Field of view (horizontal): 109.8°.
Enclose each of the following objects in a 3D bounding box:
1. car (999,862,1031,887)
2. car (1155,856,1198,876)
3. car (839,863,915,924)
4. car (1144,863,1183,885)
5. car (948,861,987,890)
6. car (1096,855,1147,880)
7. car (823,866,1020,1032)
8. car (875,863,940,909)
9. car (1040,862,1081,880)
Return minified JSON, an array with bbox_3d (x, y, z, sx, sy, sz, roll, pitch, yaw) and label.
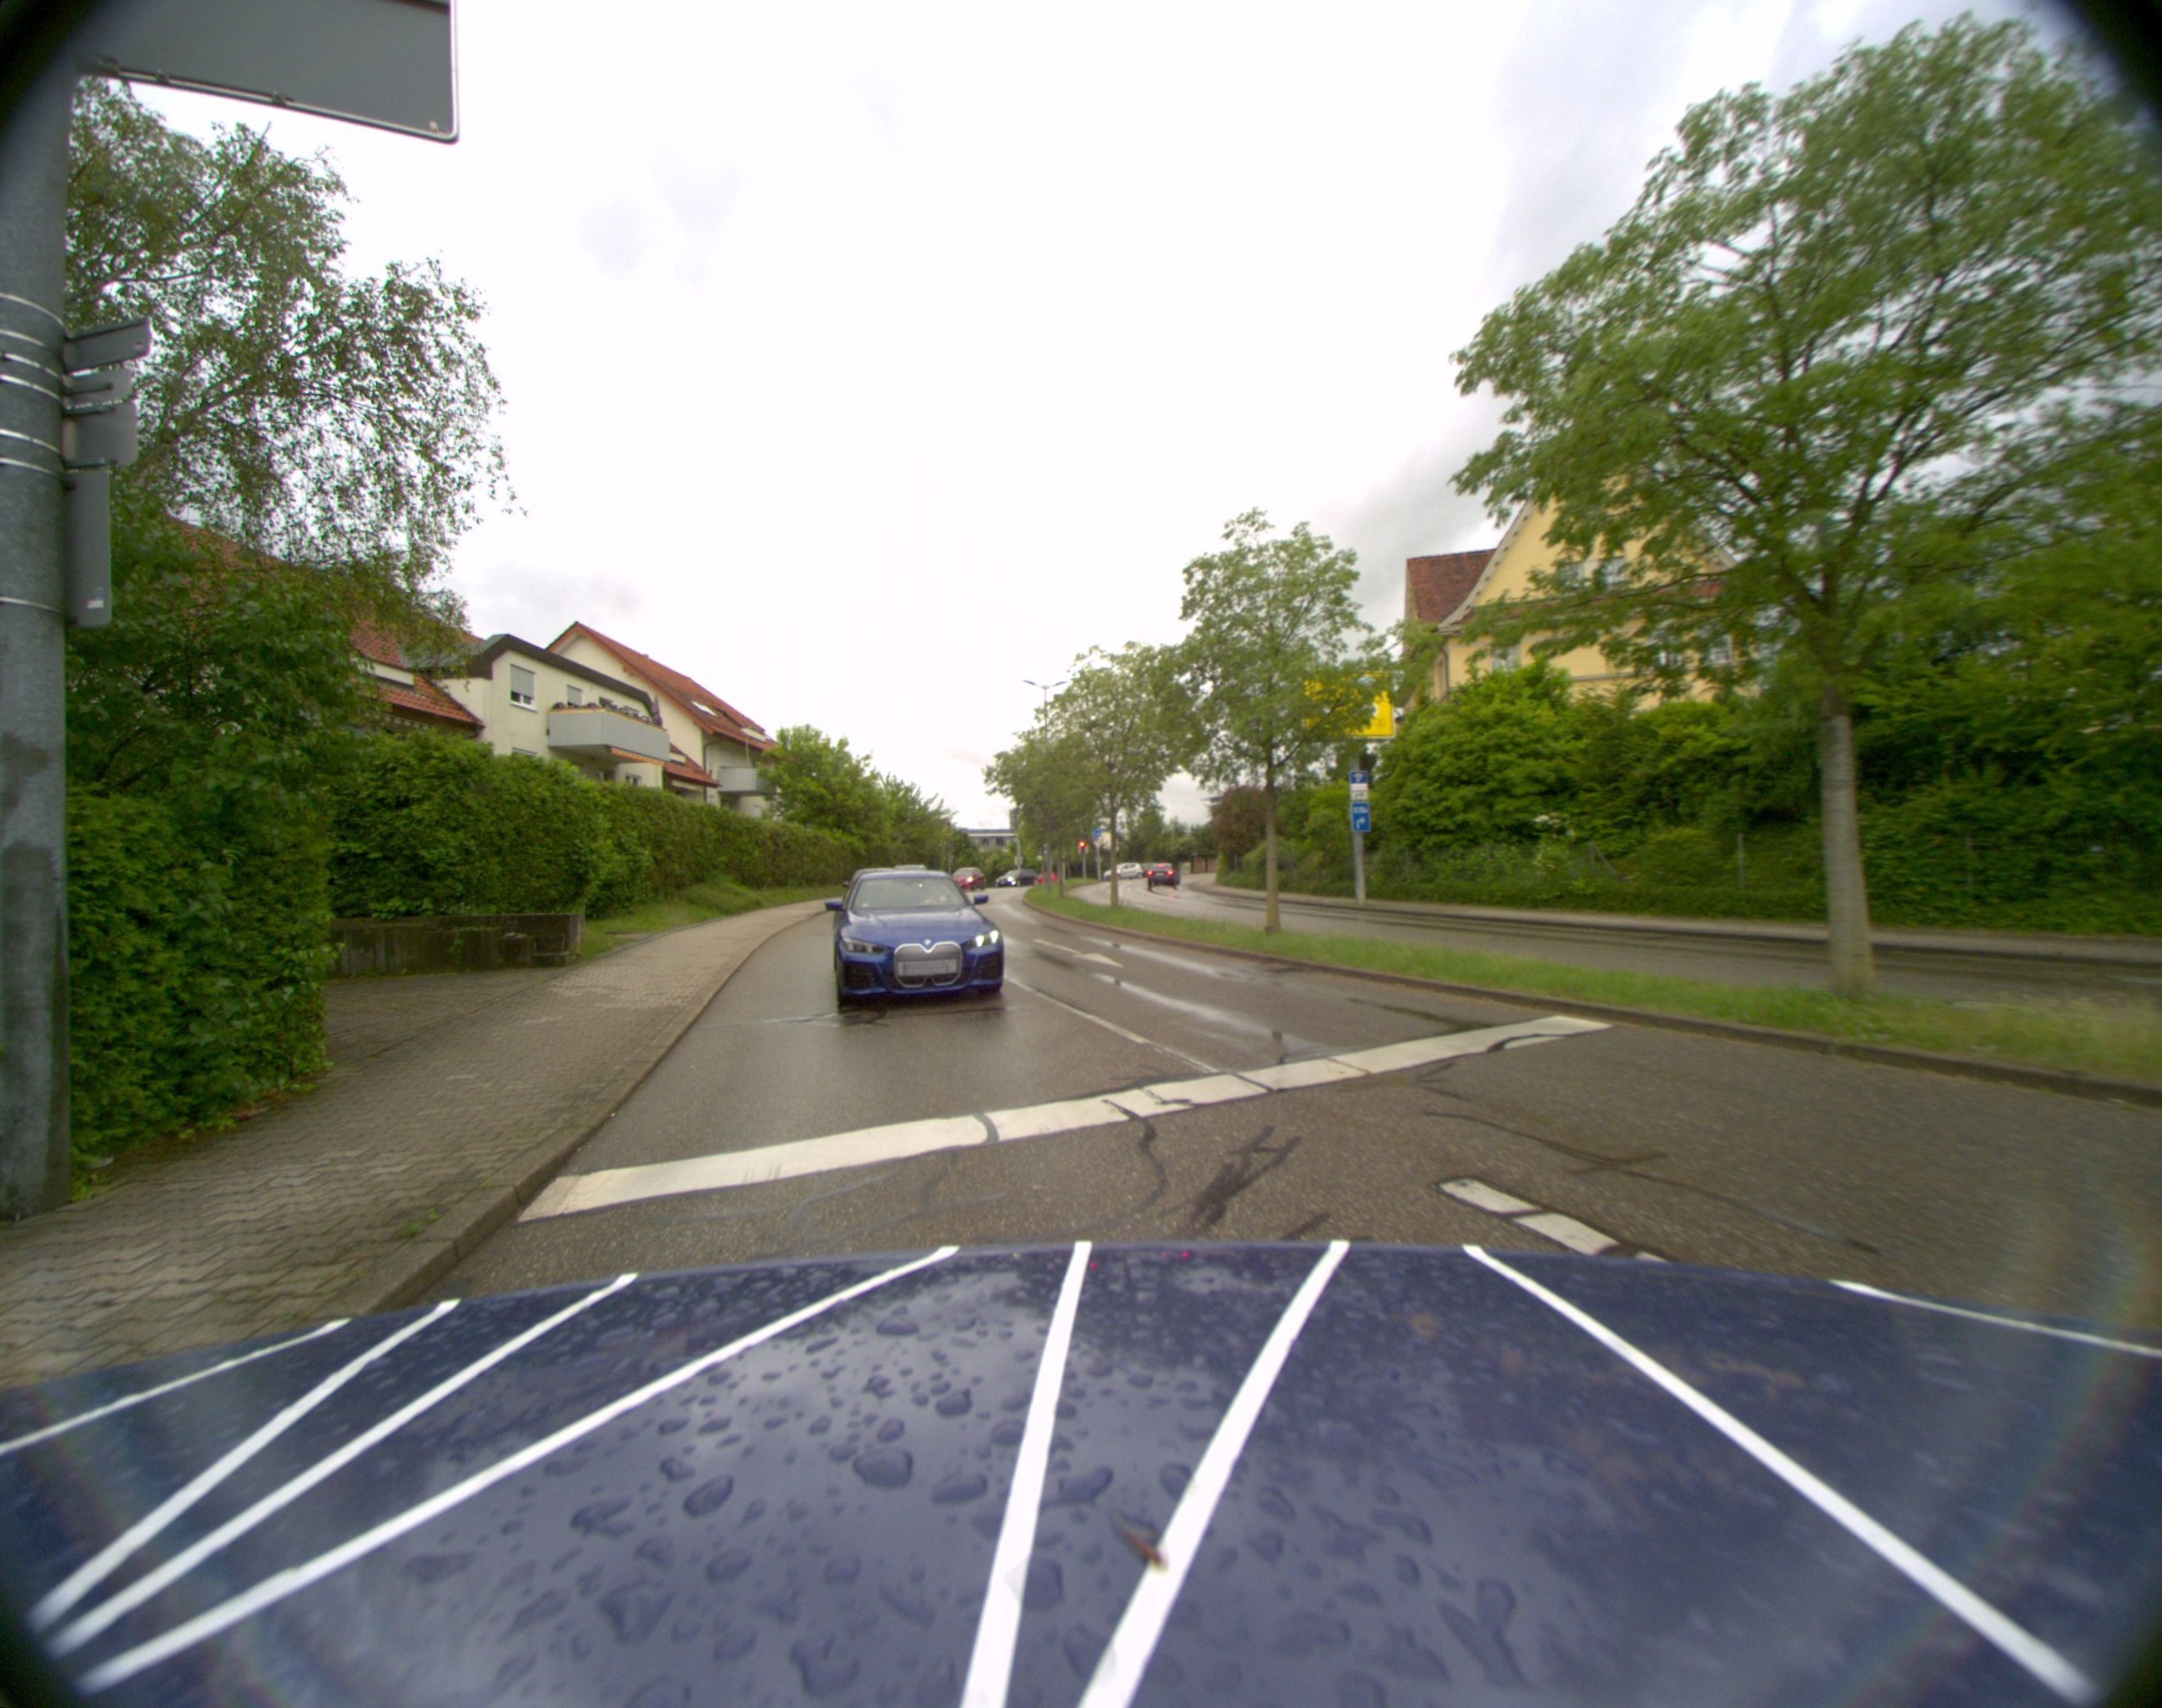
[{"bbox_3d":[-5.164,1.646,59.903,1.867,1.715,4.003,-5,-2,3],"label":"car"},{"bbox_3d":[9.512,1.229,75.644,3.925,1.612,1.848,-5,-2,13],"label":"car"},{"bbox_3d":[-5.918,1.168,22.423,1.747,1.509,3.998,-4,-2,-11],"label":"car"},{"bbox_3d":[5.657,1.370,51.776,1.996,1.429,4.554,-1,-1,14],"label":"car"},{"bbox_3d":[-7.376,1.434,49.888,1.868,1.715,4.001,-5,-2,-1],"label":"car"},{"bbox_3d":[3.615,1.228,67.825,4.005,1.913,1.909,-3,-2,-30],"label":"car"},{"bbox_3d":[-2.295,0.974,9.846,1.916,1.487,4.342,-3,1,-19],"label":"car"},{"bbox_3d":[-7.480,1.391,33.157,1.968,1.739,4.308,-4,-2,-4],"label":"car"},{"bbox_3d":[-2.240,1.849,82.488,4.104,1.813,2.002,-2,-2,9],"label":"car"}]
